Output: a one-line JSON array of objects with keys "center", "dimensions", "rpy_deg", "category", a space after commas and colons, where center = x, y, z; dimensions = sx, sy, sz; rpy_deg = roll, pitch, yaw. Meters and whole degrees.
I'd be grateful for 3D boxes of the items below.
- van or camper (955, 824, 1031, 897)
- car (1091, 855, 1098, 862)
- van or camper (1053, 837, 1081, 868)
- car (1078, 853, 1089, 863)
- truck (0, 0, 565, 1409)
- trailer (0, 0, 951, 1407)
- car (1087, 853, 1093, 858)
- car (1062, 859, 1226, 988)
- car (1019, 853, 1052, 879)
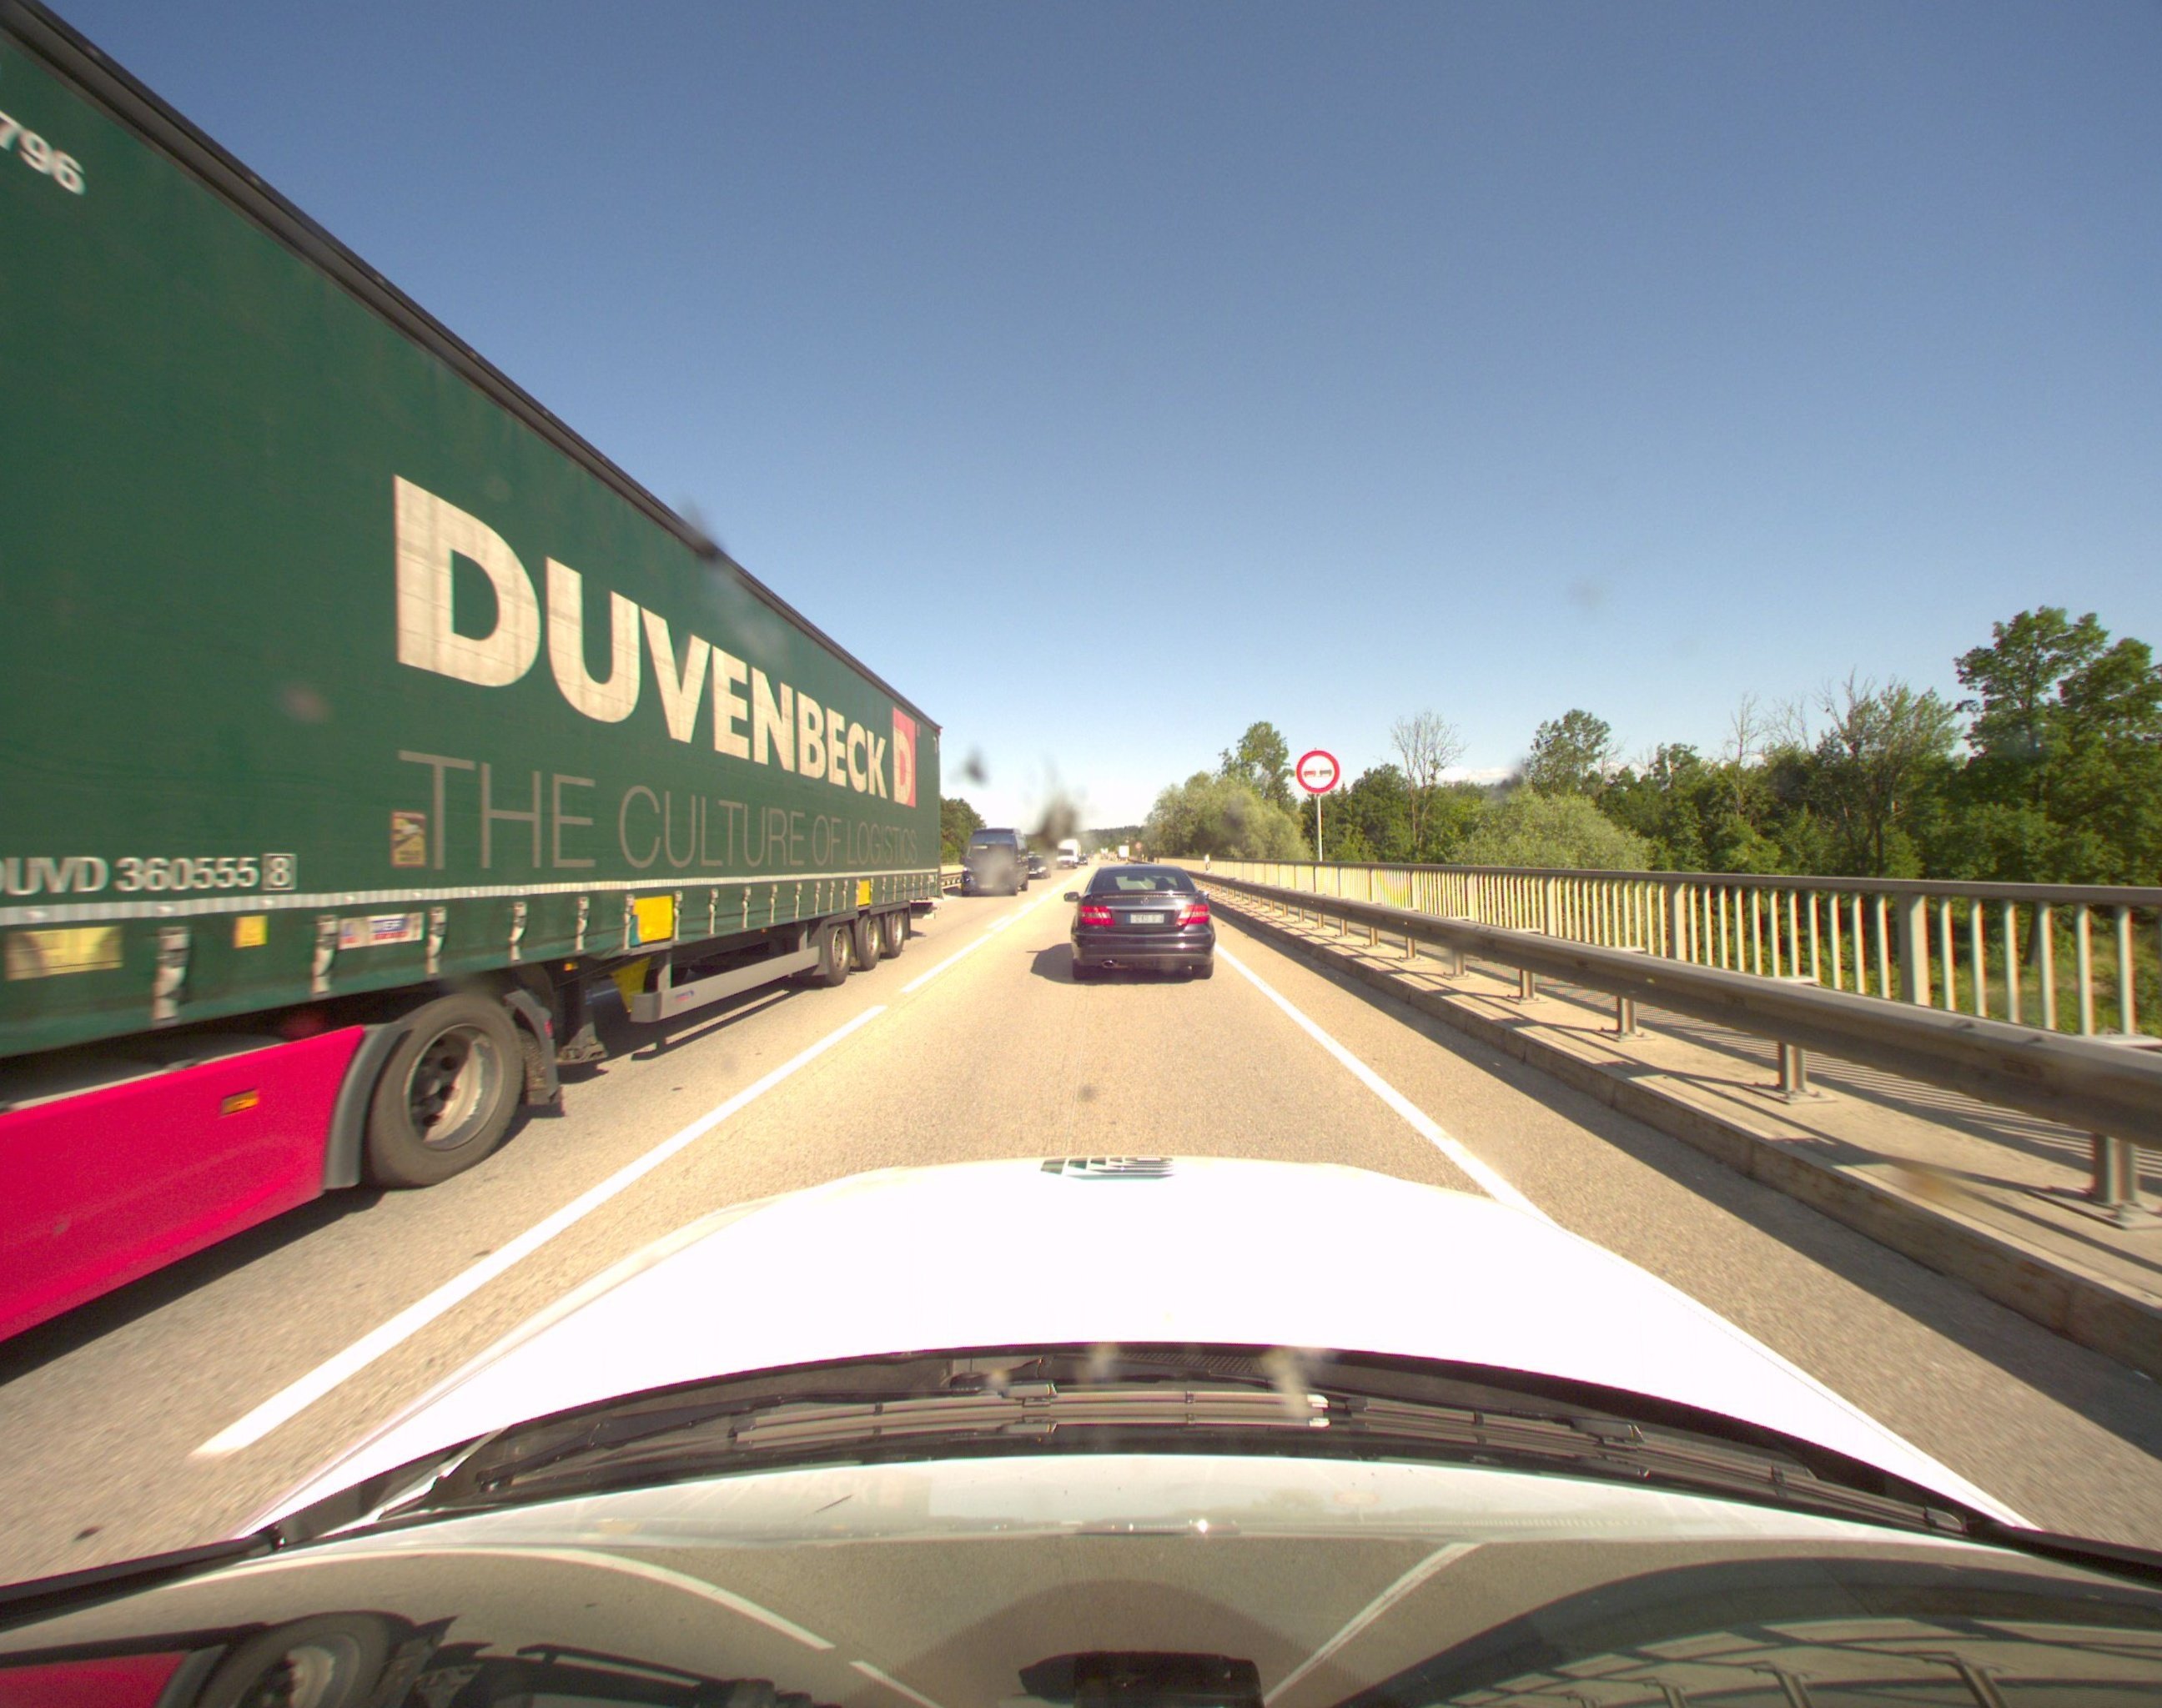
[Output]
[{"center": [-3.435, 0.245, 33.190], "dimensions": [2.423, 2.642, 6.402], "rpy_deg": [-1, 0, -1], "category": "van or camper"}, {"center": [4.310, 1.455, 262.024], "dimensions": [1.985, 2.013, 4.003], "rpy_deg": [-1, 0, 2], "category": "car"}, {"center": [-1.475, -0.124, 89.588], "dimensions": [2.625, 3.256, 7.753], "rpy_deg": [-1, 0, 2], "category": "van or camper"}, {"center": [0.316, 0.640, 127.402], "dimensions": [1.655, 1.436, 4.186], "rpy_deg": [-1, 0, -1], "category": "car"}, {"center": [-4.442, -0.555, 1.710], "dimensions": [2.897, 4.184, 5.715], "rpy_deg": [-1, 0, 1], "category": "truck"}, {"center": [-4.222, -0.622, 8.558], "dimensions": [2.896, 4.302, 14.308], "rpy_deg": [-1, 0, 2], "category": "trailer"}, {"center": [2.752, 0.431, 247.979], "dimensions": [1.796, 1.606, 3.920], "rpy_deg": [-1, 0, 4], "category": "car"}, {"center": [0.804, 0.779, 10.992], "dimensions": [1.786, 1.376, 4.003], "rpy_deg": [-1, 0, 3], "category": "car"}, {"center": [-2.900, 0.749, 53.090], "dimensions": [1.835, 1.642, 4.577], "rpy_deg": [-1, 0, 1], "category": "car"}]
